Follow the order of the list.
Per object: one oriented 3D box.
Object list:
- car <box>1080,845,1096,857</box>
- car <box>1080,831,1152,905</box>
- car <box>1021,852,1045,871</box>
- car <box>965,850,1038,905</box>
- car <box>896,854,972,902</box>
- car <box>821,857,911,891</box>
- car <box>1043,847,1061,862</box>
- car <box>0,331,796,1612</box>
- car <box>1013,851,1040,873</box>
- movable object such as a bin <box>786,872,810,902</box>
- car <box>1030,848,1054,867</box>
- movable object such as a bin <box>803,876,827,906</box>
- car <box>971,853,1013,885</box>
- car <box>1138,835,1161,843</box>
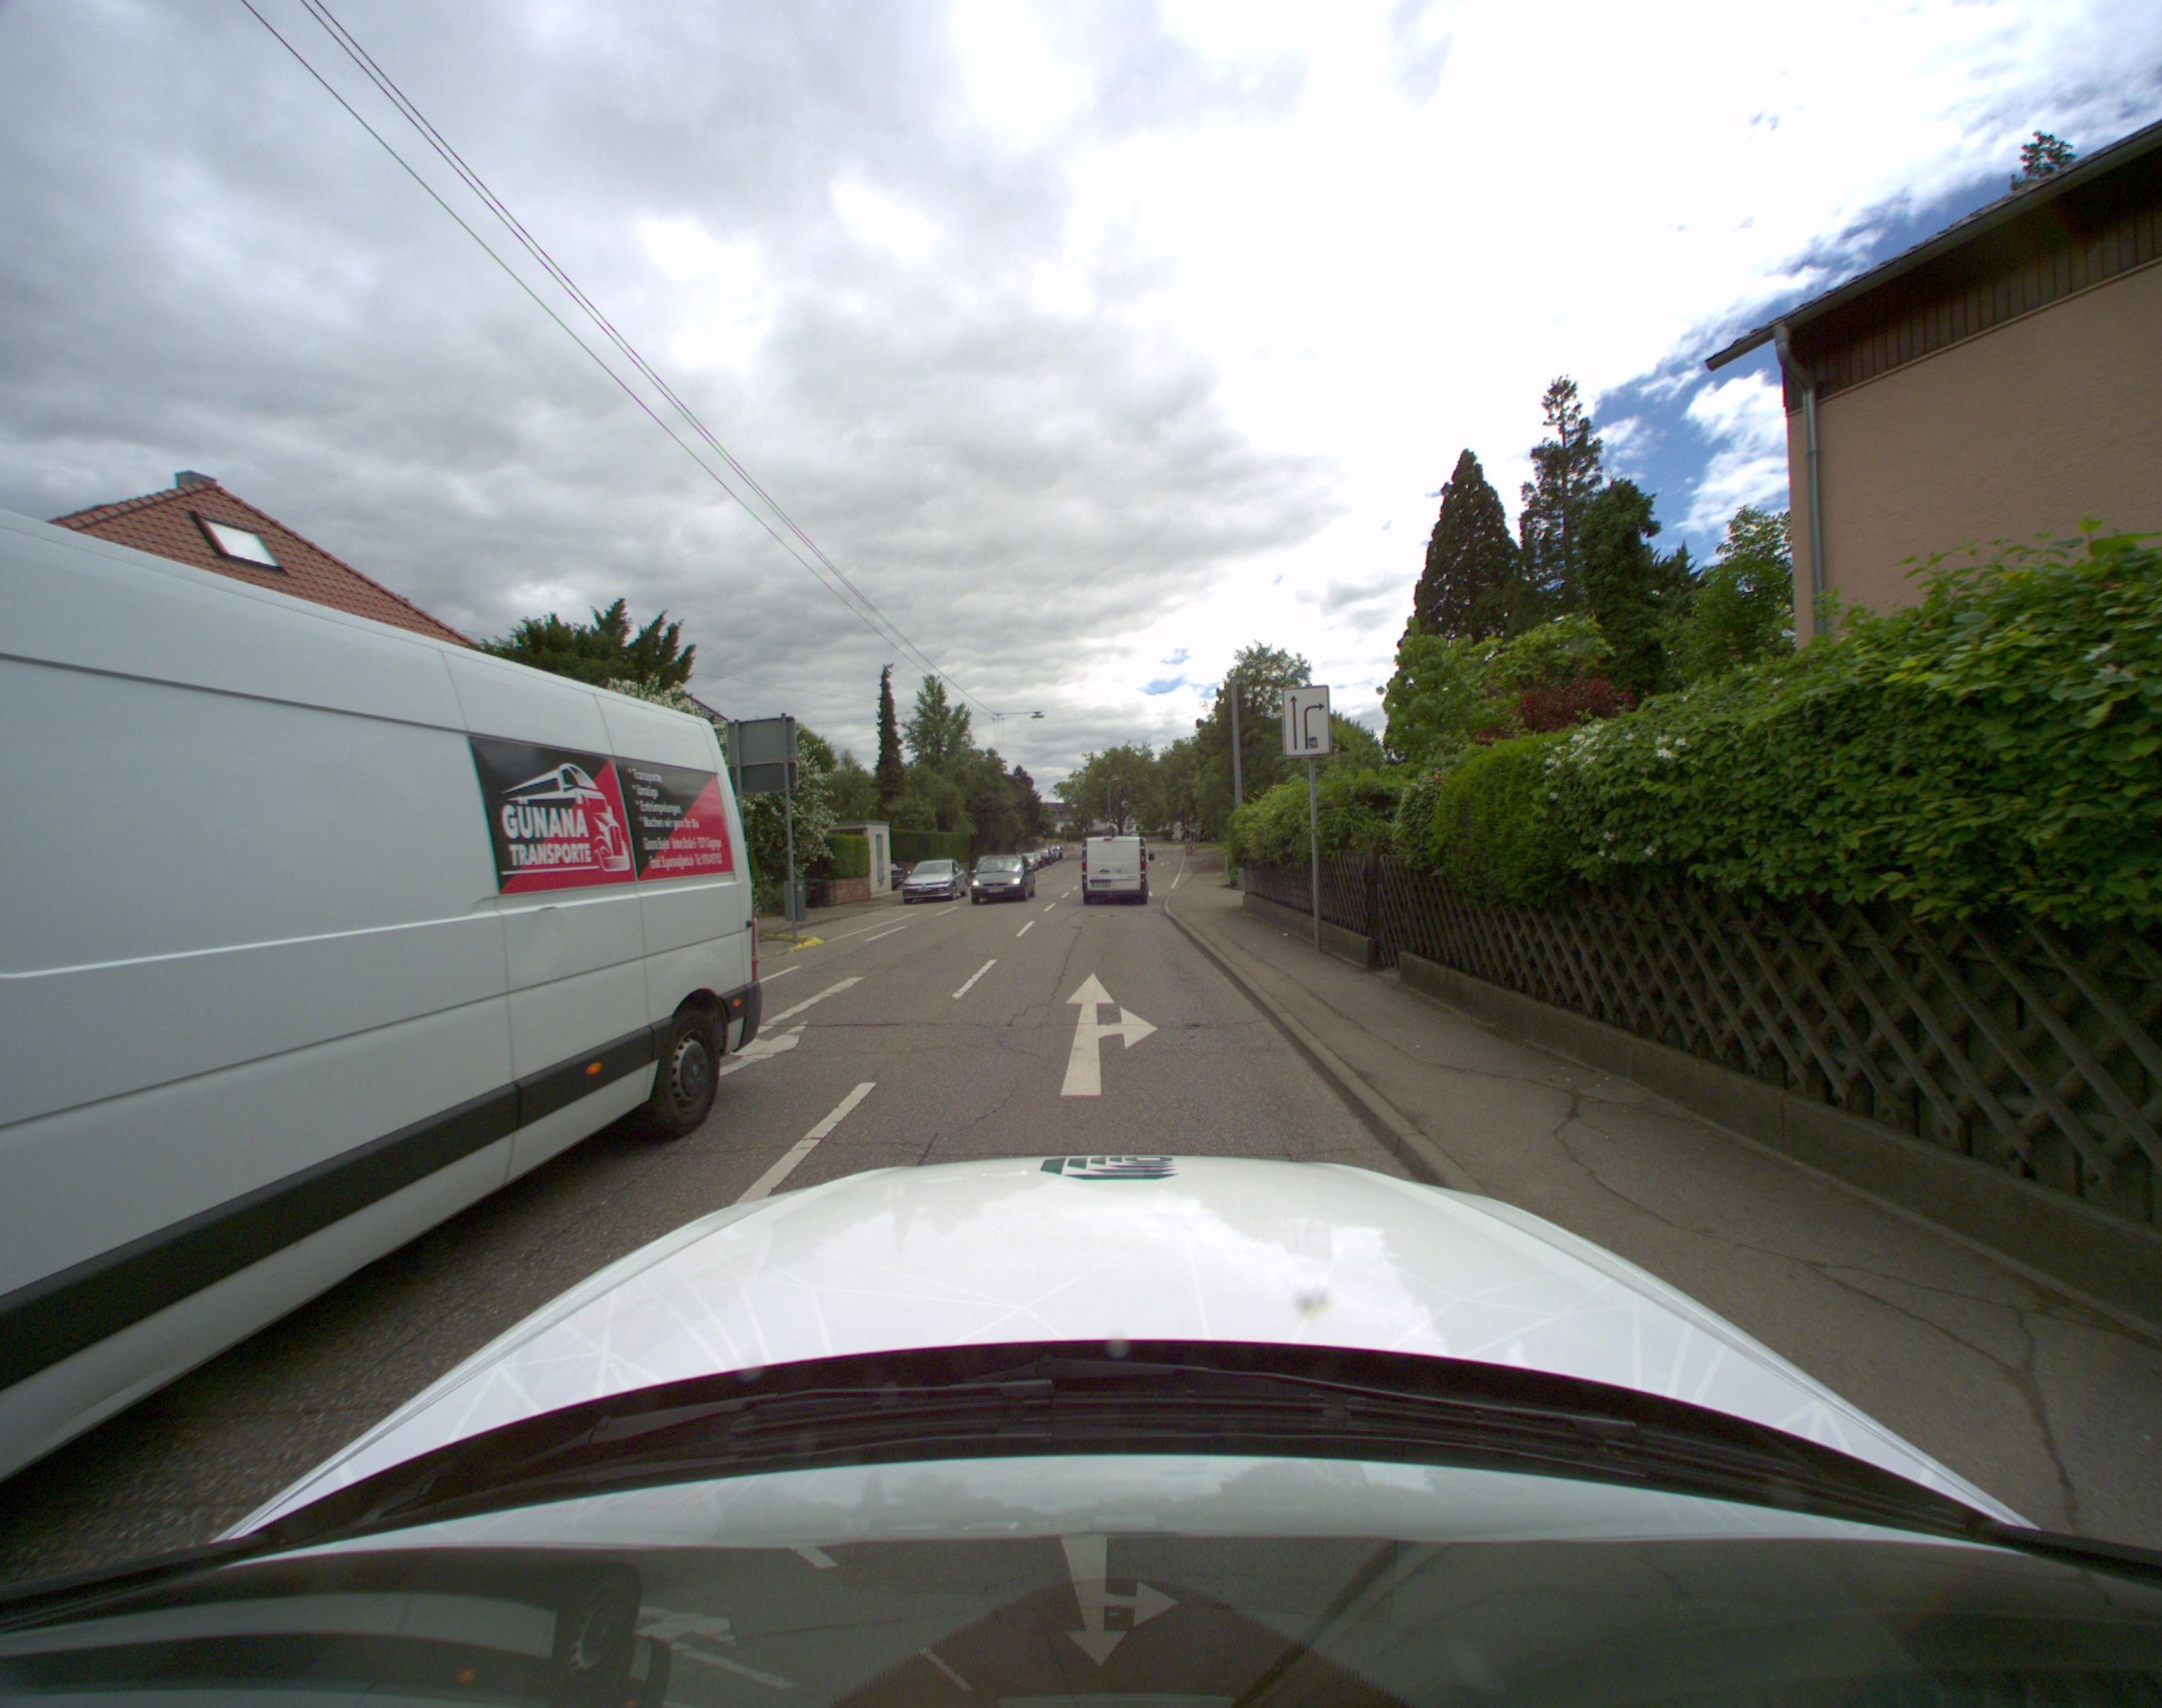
[{"bbox_3d":[1.027,-0.446,113.295,1.834,1.647,4.218,-2,0,4],"label":"car"},{"bbox_3d":[1.179,0.362,25.275,1.997,2.038,5.017,0,1,5],"label":"car"},{"bbox_3d":[-4.174,0.649,71.117,1.773,1.438,4.001,-3,1,1],"label":"car"},{"bbox_3d":[-2.481,0.678,26.570,1.727,1.553,4.450,-2,0,2],"label":"car"},{"bbox_3d":[-5.277,0.800,29.790,1.803,1.455,4.414,-4,0,0],"label":"car"},{"bbox_3d":[-10.125,0.934,38.437,3.566,1.390,1.855,-2,0,10],"label":"car"},{"bbox_3d":[-3.378,0.013,94.521,1.666,1.592,4.098,-4,1,2],"label":"car"},{"bbox_3d":[-3.141,0.252,2.585,2.104,2.498,6.125,-2,-1,1],"label":"car"},{"bbox_3d":[-4.261,0.602,64.310,1.663,1.488,4.433,-3,0,2],"label":"car"},{"bbox_3d":[-9.321,1.085,26.848,0.534,0.942,0.511,-1,-1,14],"label":"movable object such as a bin"},{"bbox_3d":[-3.740,0.320,78.094,1.987,1.643,4.466,-3,1,0],"label":"car"},{"bbox_3d":[-8.661,1.211,26.524,0.534,0.942,0.511,-1,-1,14],"label":"movable object such as a bin"},{"bbox_3d":[-4.803,0.777,44.635,1.672,1.556,3.973,-4,0,1],"label":"car"},{"bbox_3d":[14.983,-3.264,179.092,4.684,1.769,2.013,0,2,41],"label":"car"}]
